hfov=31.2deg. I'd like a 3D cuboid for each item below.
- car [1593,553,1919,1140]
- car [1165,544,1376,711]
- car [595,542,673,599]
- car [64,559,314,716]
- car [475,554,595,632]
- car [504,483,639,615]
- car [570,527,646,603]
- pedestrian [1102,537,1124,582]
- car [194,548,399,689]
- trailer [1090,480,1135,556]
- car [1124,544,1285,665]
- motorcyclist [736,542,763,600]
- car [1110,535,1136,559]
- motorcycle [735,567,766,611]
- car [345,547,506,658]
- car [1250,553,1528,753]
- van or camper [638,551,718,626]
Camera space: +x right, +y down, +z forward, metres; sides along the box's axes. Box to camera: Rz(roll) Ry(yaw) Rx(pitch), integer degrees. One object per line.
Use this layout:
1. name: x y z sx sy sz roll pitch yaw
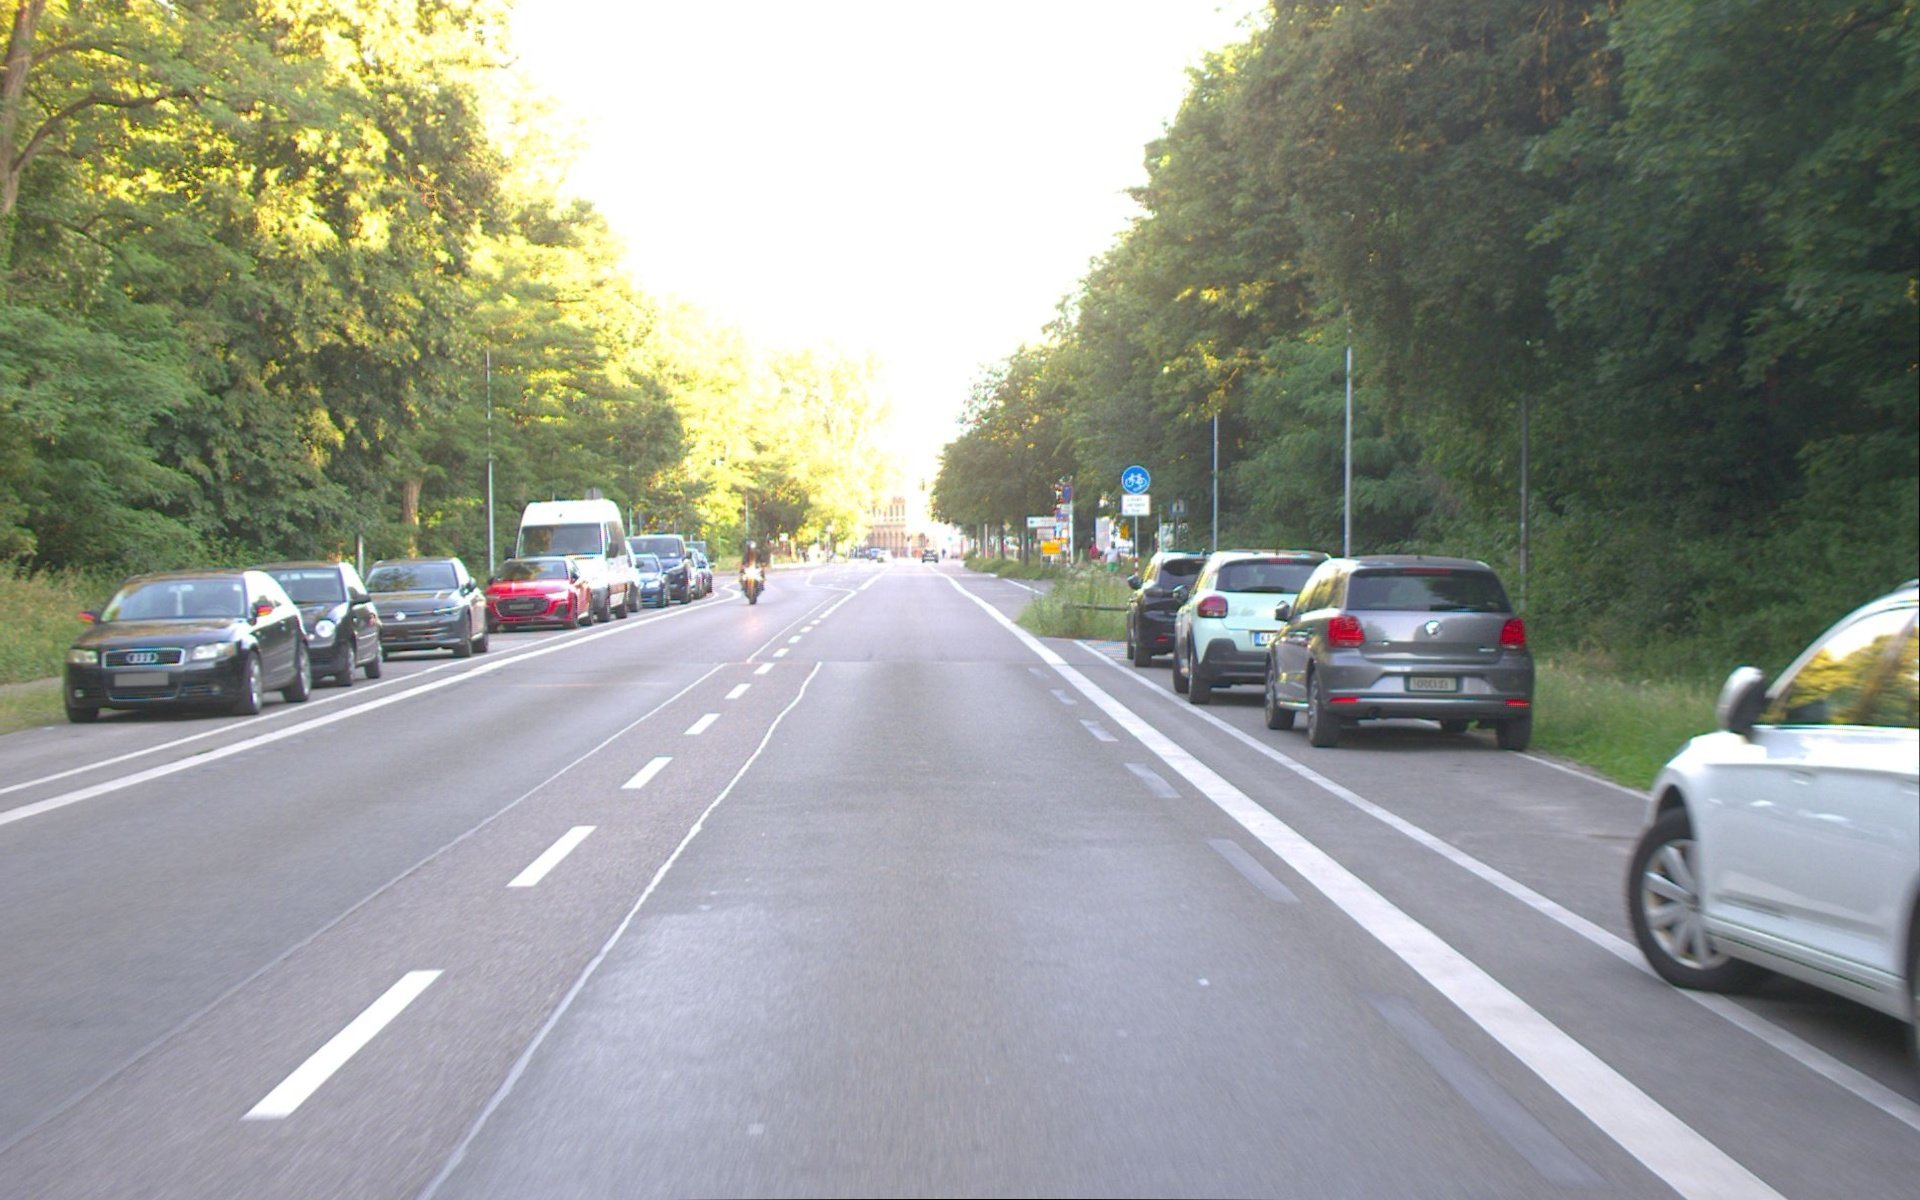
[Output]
1. car: 3.372 0.643 10.264 1.843 1.488 4.760 0 1 -3
2. car: 3.023 0.225 34.161 1.688 1.541 4.112 -1 1 0
3. car: -8.672 -0.788 91.656 1.669 1.428 4.447 -2 1 -1
4. car: -7.488 0.320 33.703 1.597 1.390 4.052 -1 1 -1
5. car: -8.199 -0.165 66.667 1.716 1.425 4.388 -1 1 1
6. car: -8.280 -1.090 73.911 2.079 2.597 7.089 -3 1 -1
7. car: -8.838 -0.902 86.534 1.687 1.852 4.388 0 1 -3
8. pedestrian: 5.981 -1.590 134.465 0.838 1.745 0.726 0 0 0
9. car: -7.703 0.173 40.178 1.711 1.503 3.657 -2 1 -1
10. trailer: 11.123 -5.951 251.471 3.020 5.443 7.934 0 1 0
11. car: 3.079 0.021 43.993 1.710 1.439 4.122 1 1 -1
12. motorcyclist: -5.536 -0.763 90.612 0.604 1.524 0.995 -1 1 2
13. car: 11.269 -3.638 237.688 1.770 1.578 4.818 1 0 3
14. motorcycle: -5.522 -0.292 90.584 0.611 1.123 1.961 -1 1 2
15. car: -7.722 0.003 50.019 1.845 1.457 4.230 -2 1 -3
16. car: 3.318 0.359 27.216 1.579 1.441 3.961 -1 1 -2
17. van or camper: -8.017 -0.354 98.154 2.002 2.011 5.462 -3 1 -3
